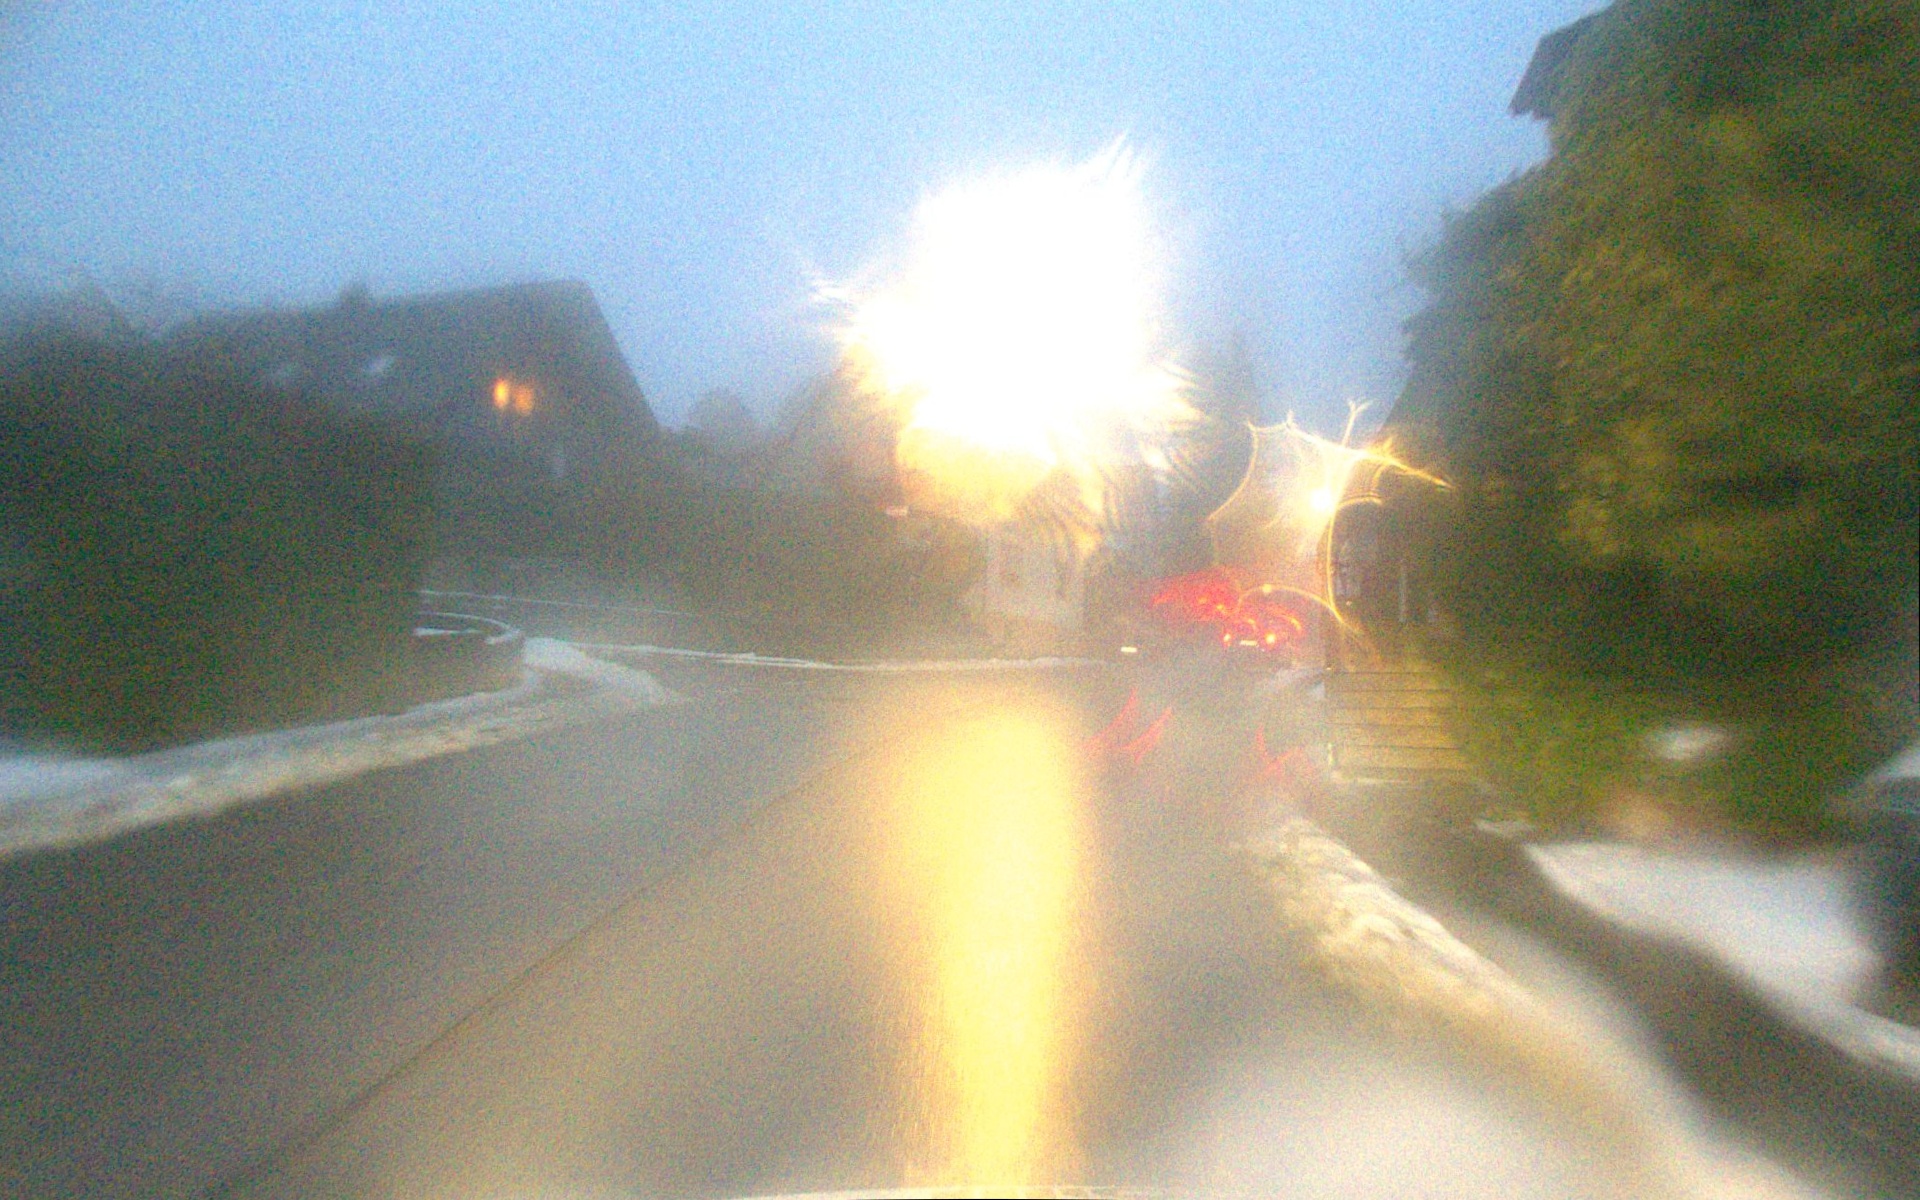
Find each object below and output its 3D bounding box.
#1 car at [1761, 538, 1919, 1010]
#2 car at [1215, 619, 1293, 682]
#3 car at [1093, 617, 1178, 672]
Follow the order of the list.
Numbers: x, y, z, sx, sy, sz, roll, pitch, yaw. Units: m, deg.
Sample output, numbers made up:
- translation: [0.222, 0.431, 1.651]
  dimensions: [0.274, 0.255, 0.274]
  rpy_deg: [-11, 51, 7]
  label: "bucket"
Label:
- translation: [5.425, 0.669, 6.414]
  dimensions: [3.918, 1.720, 1.838]
  rpy_deg: [1, -2, -13]
  label: "car"
- translation: [8.806, 1.545, 49.377]
  dimensions: [1.951, 1.768, 3.880]
  rpy_deg: [-2, -3, 15]
  label: "car"
- translation: [5.839, 1.513, 54.769]
  dimensions: [1.952, 1.680, 4.001]
  rpy_deg: [-2, -4, 18]
  label: "car"
